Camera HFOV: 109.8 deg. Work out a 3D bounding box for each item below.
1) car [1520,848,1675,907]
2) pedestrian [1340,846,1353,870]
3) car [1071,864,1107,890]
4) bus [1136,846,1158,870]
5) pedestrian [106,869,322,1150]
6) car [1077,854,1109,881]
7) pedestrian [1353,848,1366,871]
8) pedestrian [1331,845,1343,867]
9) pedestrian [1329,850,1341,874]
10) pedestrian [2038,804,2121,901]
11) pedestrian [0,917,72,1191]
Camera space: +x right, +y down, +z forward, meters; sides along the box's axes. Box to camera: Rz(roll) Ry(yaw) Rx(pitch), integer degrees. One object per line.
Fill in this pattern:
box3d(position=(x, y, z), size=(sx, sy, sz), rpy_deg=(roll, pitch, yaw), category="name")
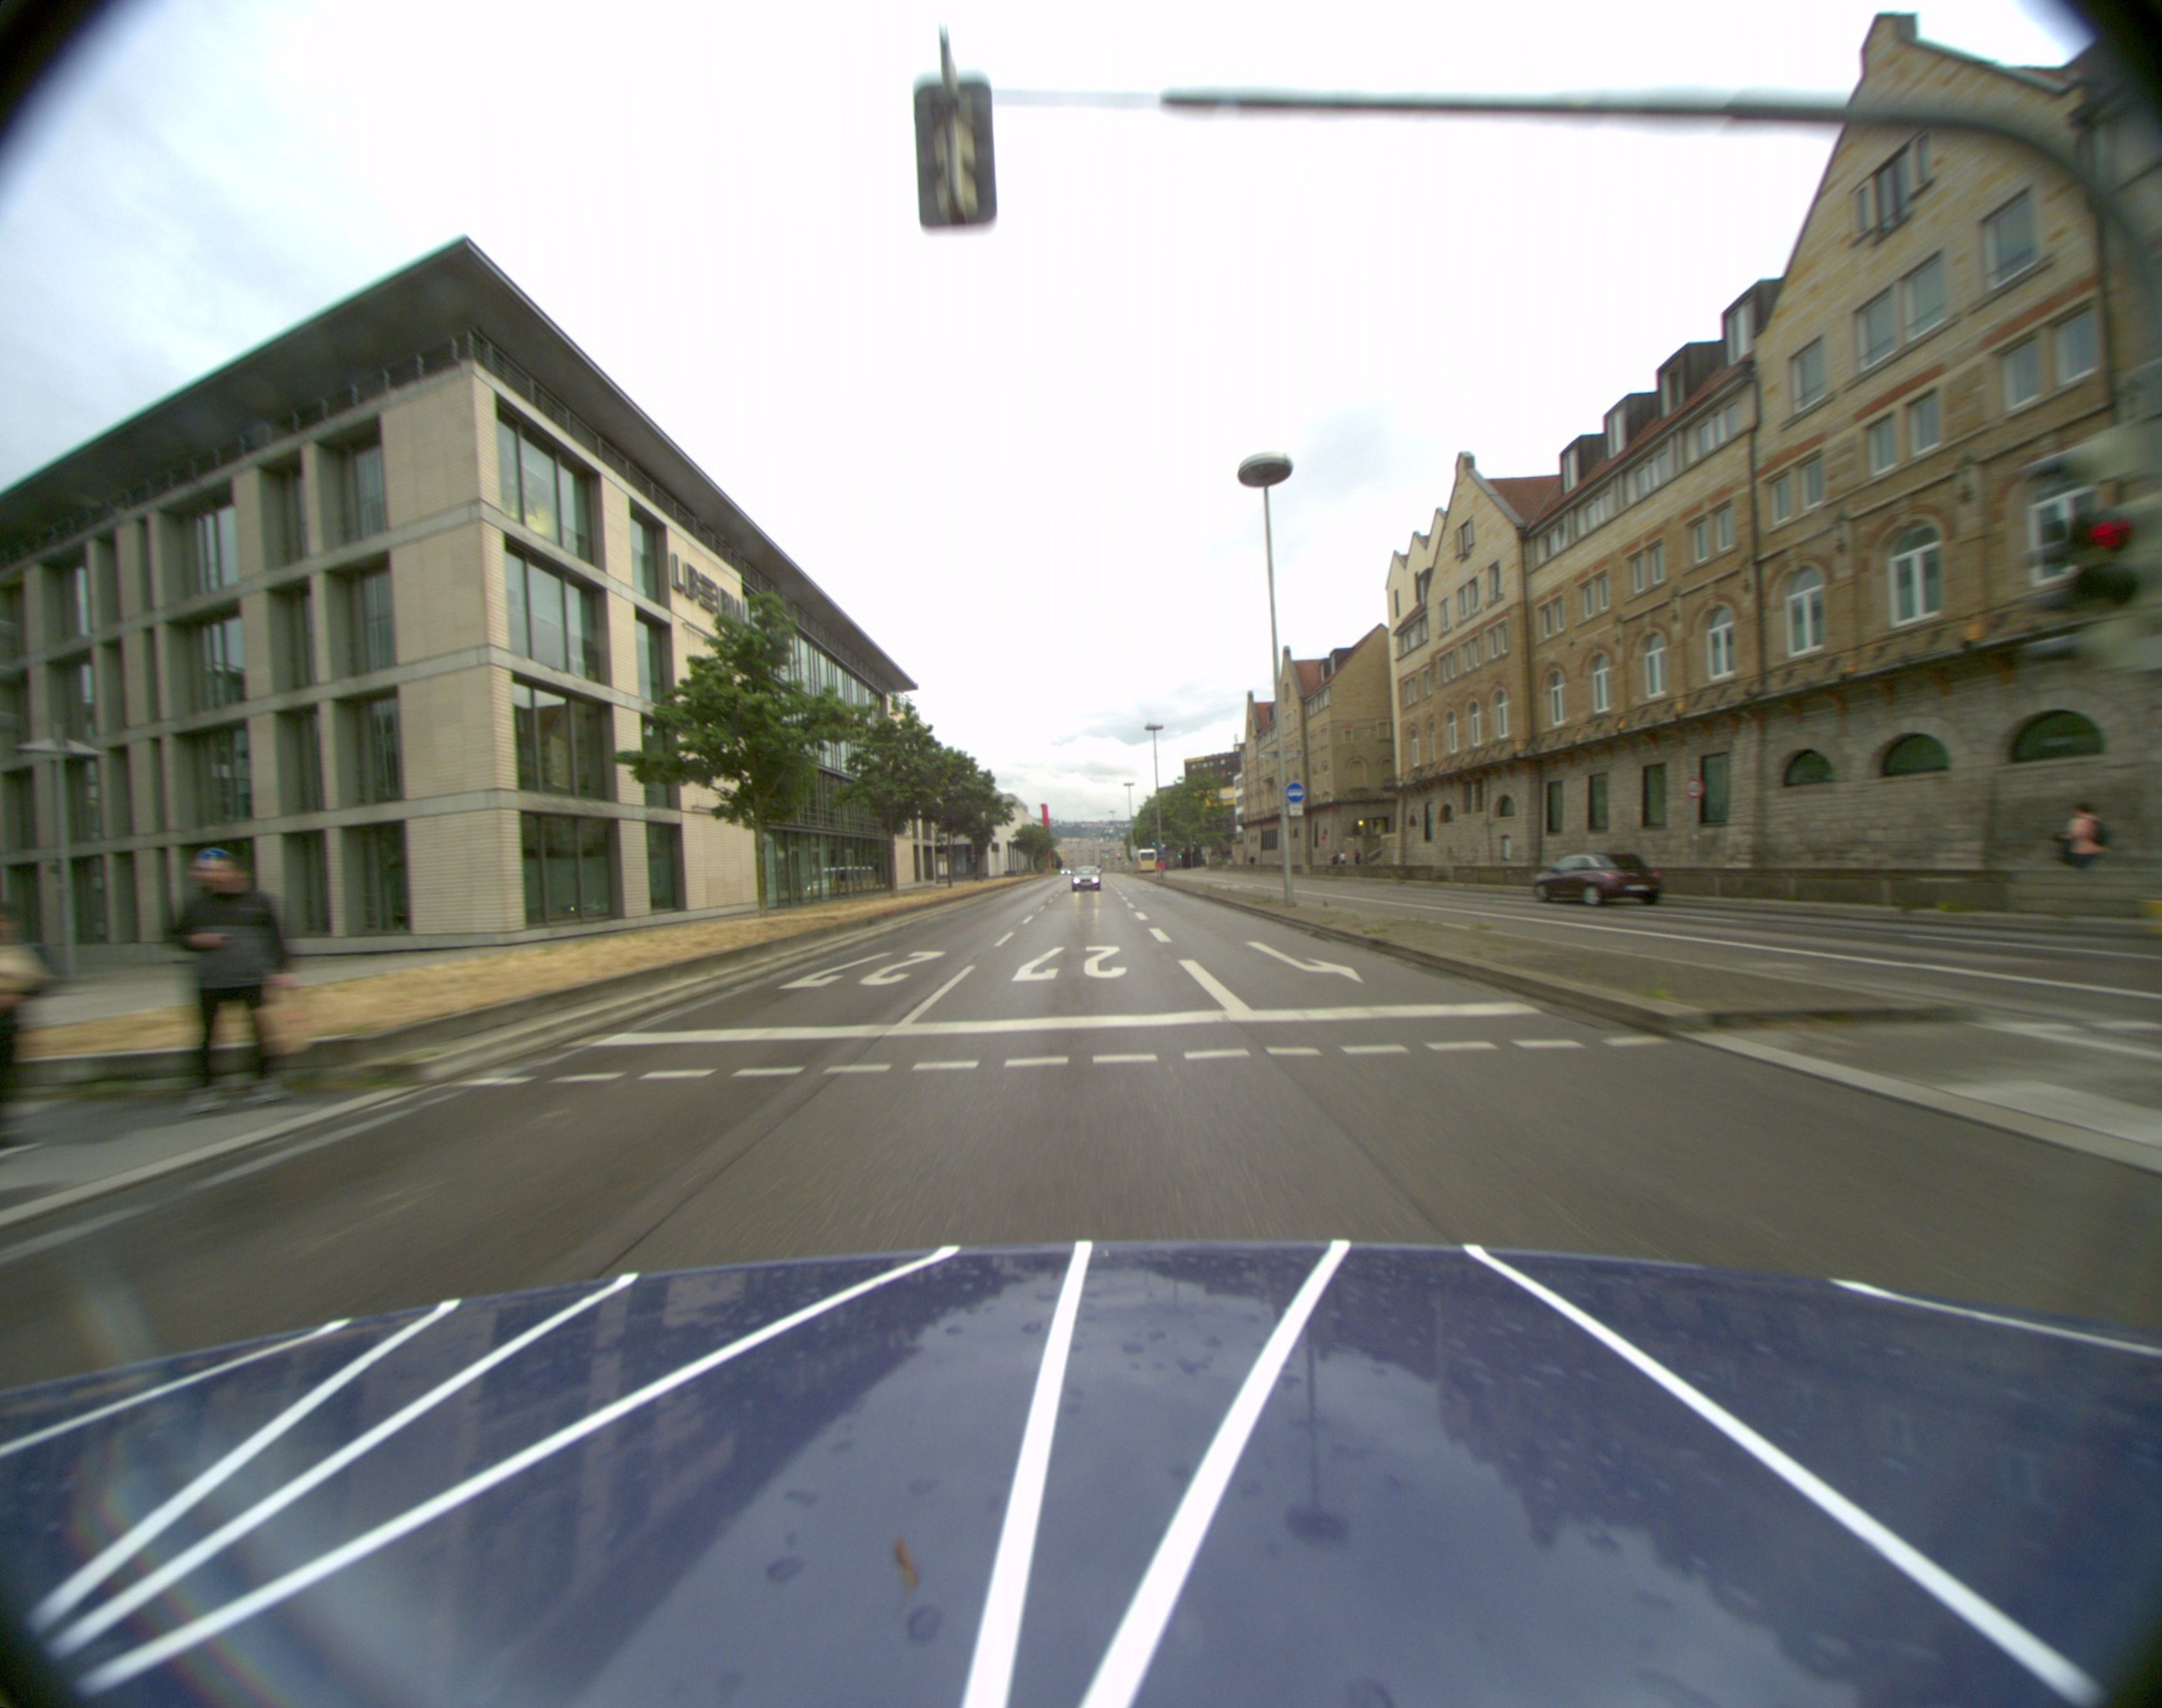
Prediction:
box3d(position=(14.672, 0.628, 21.887), size=(1.715, 1.455, 4.000), rpy_deg=(-3, -1, 1), category="car")
box3d(position=(19.967, 0.285, 57.181), size=(0.677, 1.769, 0.683), rpy_deg=(-2, 1, 1), category="pedestrian")
box3d(position=(0.437, 1.342, 45.505), size=(1.685, 1.379, 3.474), rpy_deg=(-2, 1, -6), category="car")
box3d(position=(9.828, 0.571, 114.402), size=(2.500, 3.319, 8.446), rpy_deg=(-3, -1, 1), category="bus")
box3d(position=(-6.055, 1.006, 5.376), size=(0.784, 1.761, 0.726), rpy_deg=(-3, 1, -35), category="pedestrian")
box3d(position=(0.950, 1.091, 62.270), size=(2.000, 2.002, 3.997), rpy_deg=(-2, 1, -7), category="car")
box3d(position=(21.077, 0.416, 57.539), size=(0.677, 1.769, 0.683), rpy_deg=(-2, 1, 1), category="pedestrian")
box3d(position=(20.503, 0.164, 60.789), size=(0.677, 1.769, 0.683), rpy_deg=(-2, 1, 1), category="pedestrian")
box3d(position=(19.049, 0.587, 57.018), size=(0.677, 1.769, 0.683), rpy_deg=(-2, 1, 1), category="pedestrian")
box3d(position=(19.052, -0.031, 14.512), size=(0.677, 1.769, 0.683), rpy_deg=(-2, 1, 1), category="pedestrian")
box3d(position=(-6.433, 1.162, 4.394), size=(0.541, 1.519, 0.602), rpy_deg=(-1, 2, 44), category="pedestrian")
